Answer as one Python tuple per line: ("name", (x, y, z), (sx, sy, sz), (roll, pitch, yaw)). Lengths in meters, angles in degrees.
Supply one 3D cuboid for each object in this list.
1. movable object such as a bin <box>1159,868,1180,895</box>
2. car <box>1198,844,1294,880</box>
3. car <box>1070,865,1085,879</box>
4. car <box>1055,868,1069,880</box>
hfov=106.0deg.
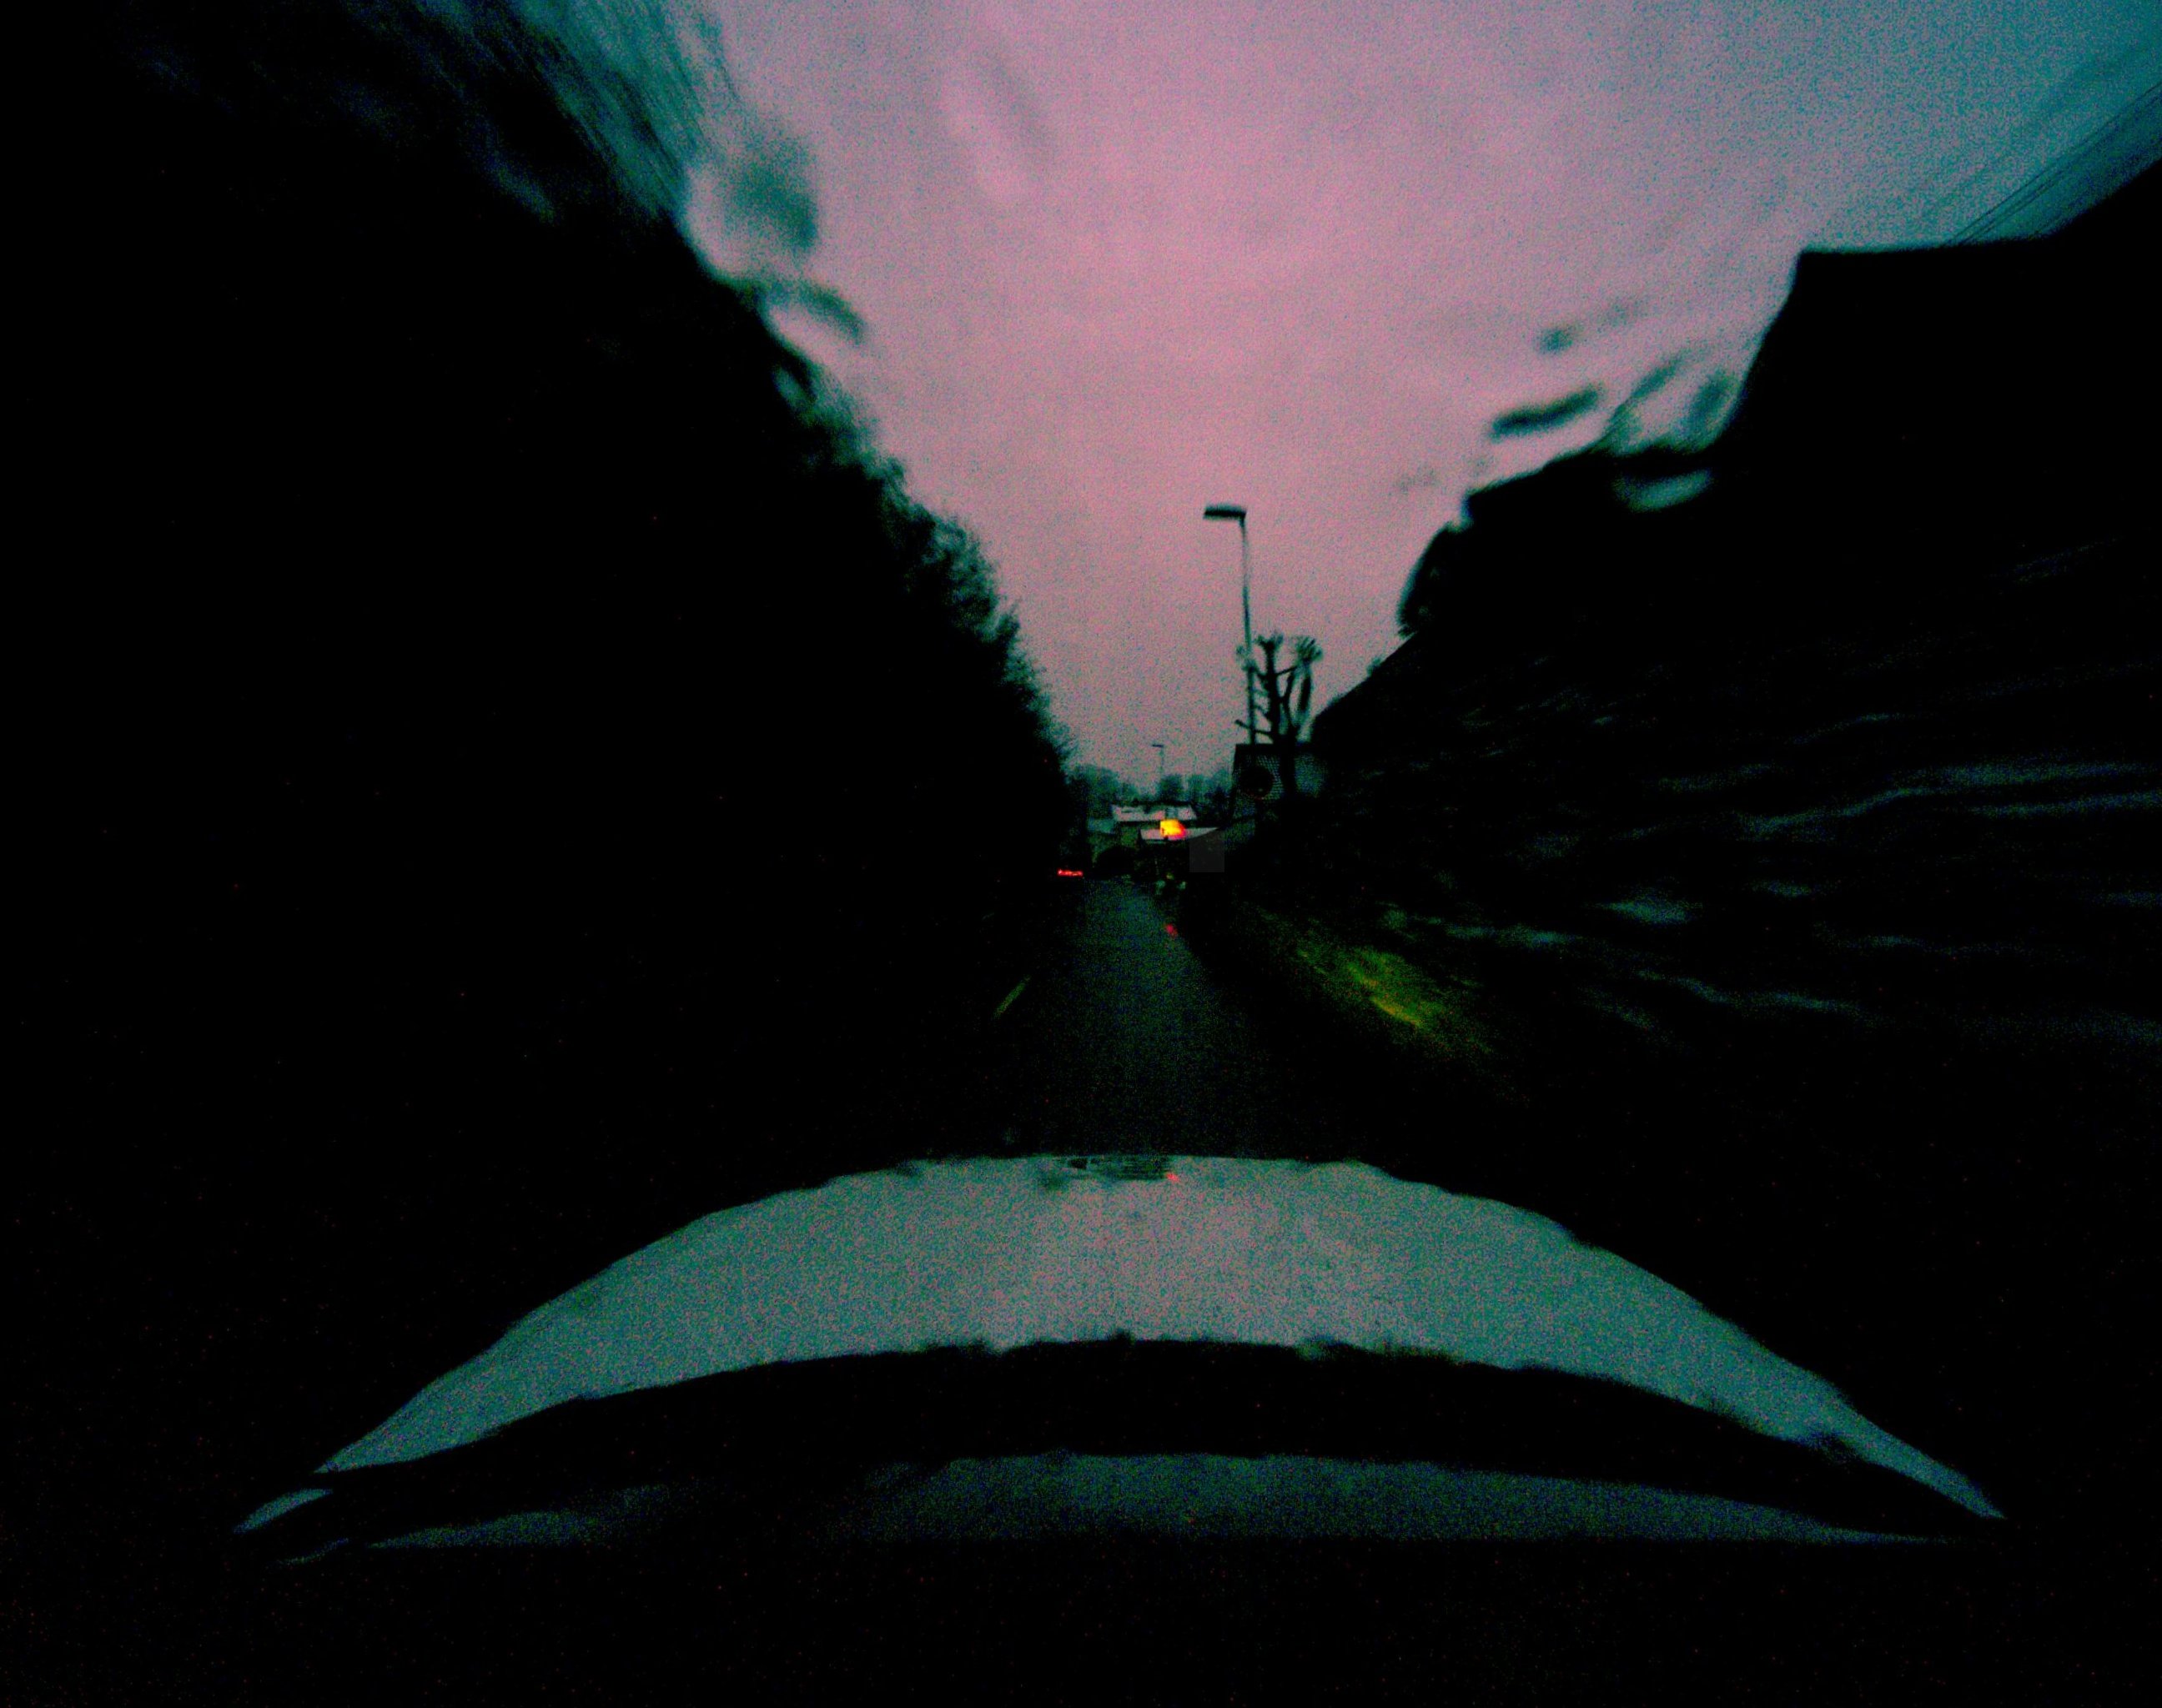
("movable object such as a bin", (3.511, 1.094, 32.286), (0.681, 1.004, 0.858), (-4, -3, 10))
("car", (7.287, 0.392, 36.243), (3.968, 1.266, 1.698), (-4, -3, 5))
("car", (-0.418, 2.366, 105.509), (1.798, 1.739, 4.001), (1, -3, 2))
("car", (-2.738, 2.865, 118.328), (1.798, 1.618, 4.001), (1, -3, 2))
